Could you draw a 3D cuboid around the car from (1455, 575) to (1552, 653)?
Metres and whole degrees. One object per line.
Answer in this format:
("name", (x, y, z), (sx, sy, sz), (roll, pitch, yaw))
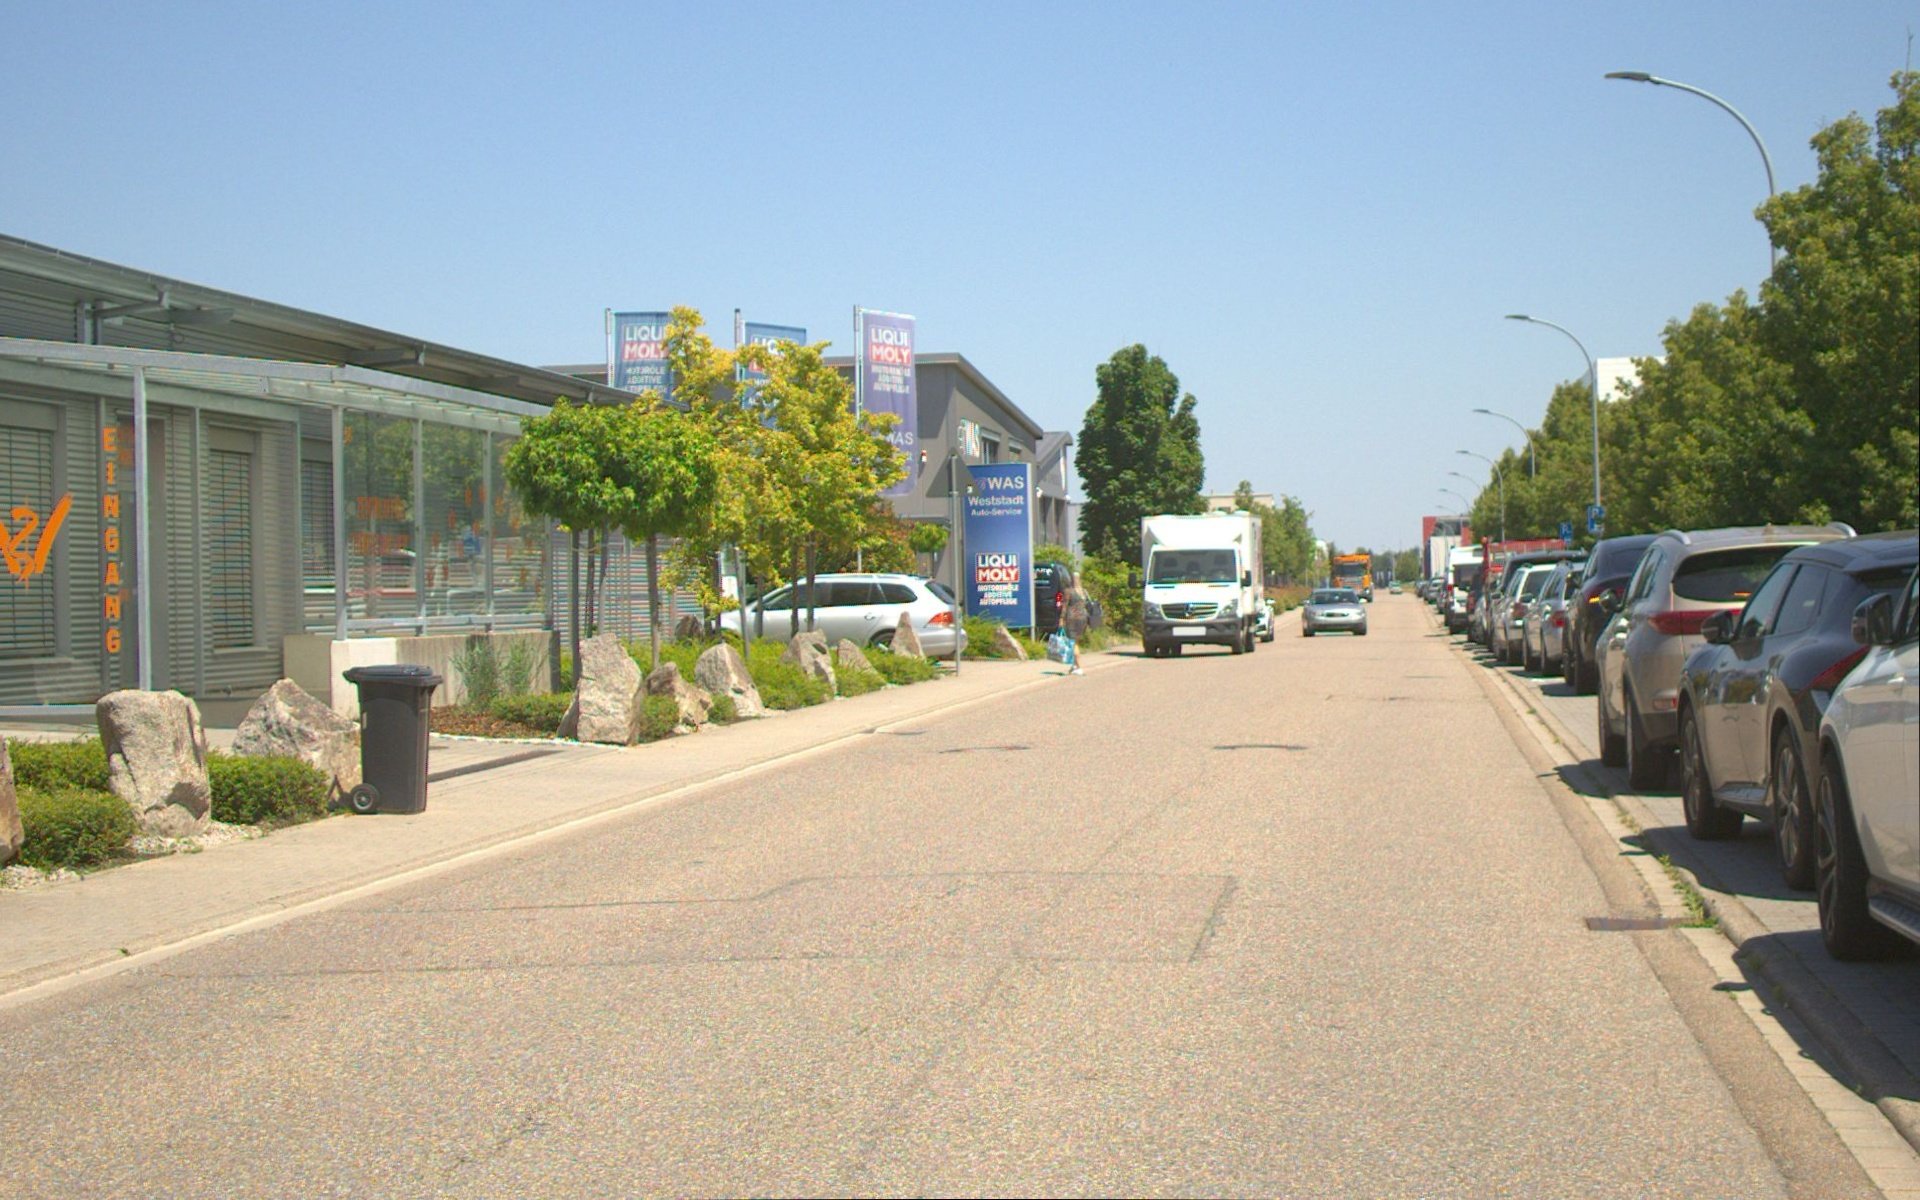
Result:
("car", (11.557, 0.289, 73.301), (1.738, 1.525, 3.999), (-3, 0, 6))

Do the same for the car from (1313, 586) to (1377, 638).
("car", (11.550, 0.353, 102.966), (1.783, 1.417, 4.412), (-3, -1, 7))

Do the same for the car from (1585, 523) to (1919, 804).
("car", (5.274, 0.371, 23.075), (1.805, 1.630, 4.457), (-3, 0, 7))

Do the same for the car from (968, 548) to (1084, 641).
("car", (1.494, -0.113, 75.552), (1.994, 1.950, 5.216), (0, 0, 7))

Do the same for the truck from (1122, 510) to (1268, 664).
("truck", (4.814, -0.241, 69.473), (2.362, 2.850, 6.413), (-3, -1, 8))

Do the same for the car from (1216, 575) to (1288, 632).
("car", (7.794, 0.090, 91.439), (1.730, 1.453, 4.490), (0, 0, 7))

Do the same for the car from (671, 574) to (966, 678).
("car", (-2.137, 0.388, 52.687), (4.263, 1.513, 1.865), (-1, 0, 7))

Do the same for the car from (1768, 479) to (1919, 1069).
("car", (3.909, 0.453, 10.689), (2.144, 1.693, 4.784), (-3, 0, 7))

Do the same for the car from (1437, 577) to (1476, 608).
("car", (23.937, -0.358, 165.822), (1.718, 1.445, 3.645), (-2, 0, 7))

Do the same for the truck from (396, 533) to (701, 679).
("truck", (-10.452, 0.104, 86.819), (8.054, 3.545, 2.581), (0, 0, 37))

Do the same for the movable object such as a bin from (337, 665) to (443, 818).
("movable object such as a bin", (-3.635, 0.897, 21.946), (0.570, 0.946, 0.512), (0, 0, 2))

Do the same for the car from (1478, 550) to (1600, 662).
("car", (9.680, 0.082, 57.711), (1.811, 1.719, 4.772), (-3, 0, 8))

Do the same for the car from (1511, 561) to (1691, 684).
("car", (8.521, 0.274, 46.034), (1.805, 1.478, 4.773), (-3, 0, 4))

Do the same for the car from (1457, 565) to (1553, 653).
("car", (12.506, 0.200, 79.118), (1.994, 1.878, 5.154), (-2, 0, 8))

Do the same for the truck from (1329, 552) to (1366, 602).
("truck", (28.210, -1.671, 250.239), (2.449, 3.501, 8.270), (-2, 0, 7))

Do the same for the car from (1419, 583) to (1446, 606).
("car", (29.220, -0.358, 212.803), (1.585, 1.405, 3.499), (-1, 0, 7))

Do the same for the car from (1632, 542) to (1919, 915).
("car", (4.528, 0.490, 16.514), (1.904, 1.524, 4.629), (-3, 0, 4))

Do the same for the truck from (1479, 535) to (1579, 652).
("truck", (11.355, -0.120, 68.846), (1.679, 2.174, 4.389), (-3, 0, 7))

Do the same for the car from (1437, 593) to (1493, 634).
("car", (19.105, 0.508, 129.947), (1.710, 1.499, 4.703), (-1, -1, 12))

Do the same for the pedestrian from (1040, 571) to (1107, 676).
("pedestrian", (1.717, 0.348, 51.888), (0.899, 1.569, 0.785), (1, 0, 8))

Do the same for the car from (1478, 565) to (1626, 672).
("car", (8.937, 0.255, 52.201), (1.714, 1.478, 4.773), (-3, 0, 4))

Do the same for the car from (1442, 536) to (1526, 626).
("car", (15.294, -0.542, 100.100), (2.268, 2.489, 6.149), (-2, 0, 9))

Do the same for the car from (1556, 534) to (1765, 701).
("car", (7.852, 0.174, 38.909), (1.949, 1.695, 4.543), (-3, 0, 8))
